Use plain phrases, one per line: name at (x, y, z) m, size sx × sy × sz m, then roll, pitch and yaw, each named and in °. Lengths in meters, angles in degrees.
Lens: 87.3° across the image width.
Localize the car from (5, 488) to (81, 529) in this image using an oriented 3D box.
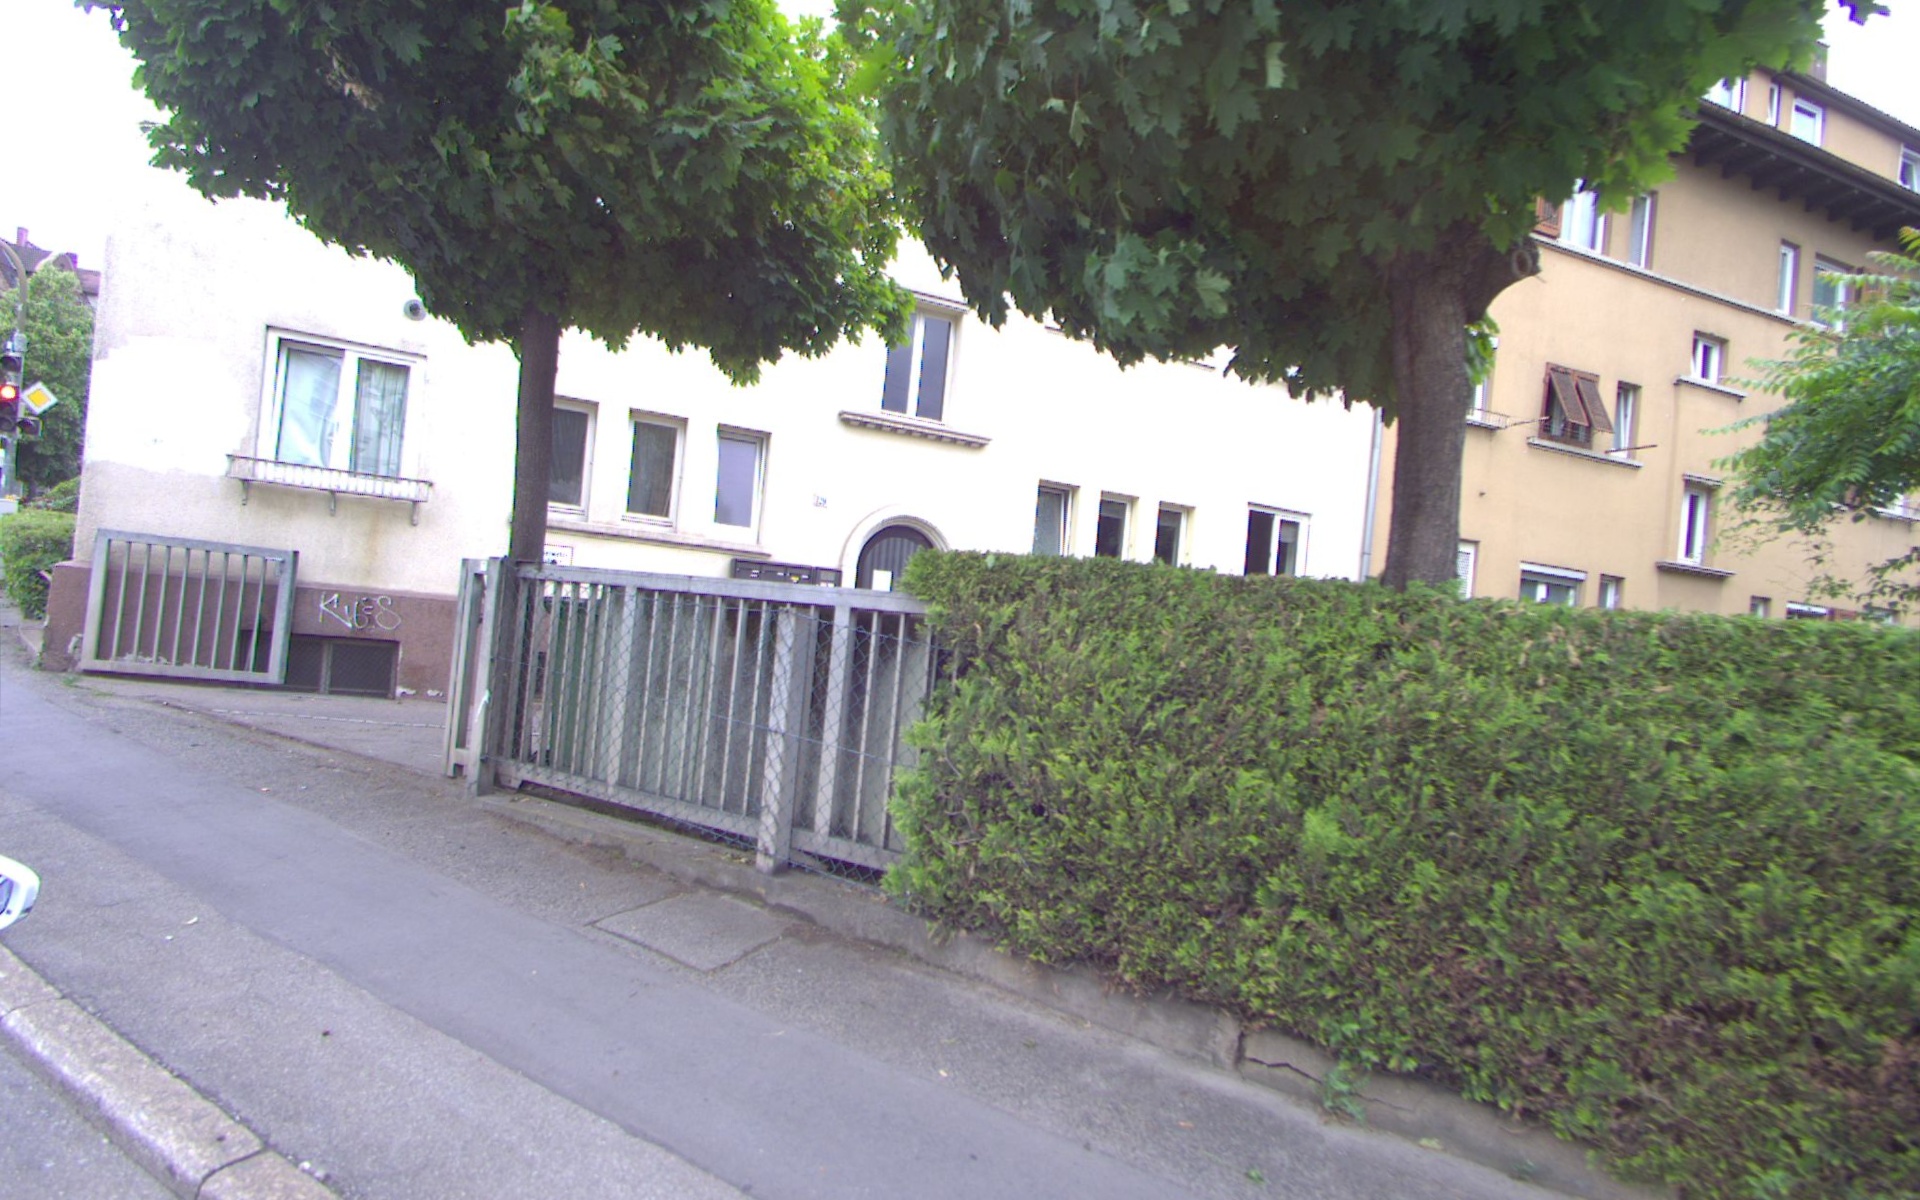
car at (-63.017, -6.267, 69.227) m, size 1.969 × 2.036 × 3.992 m, roll 9°, pitch -3°, yaw -14°
